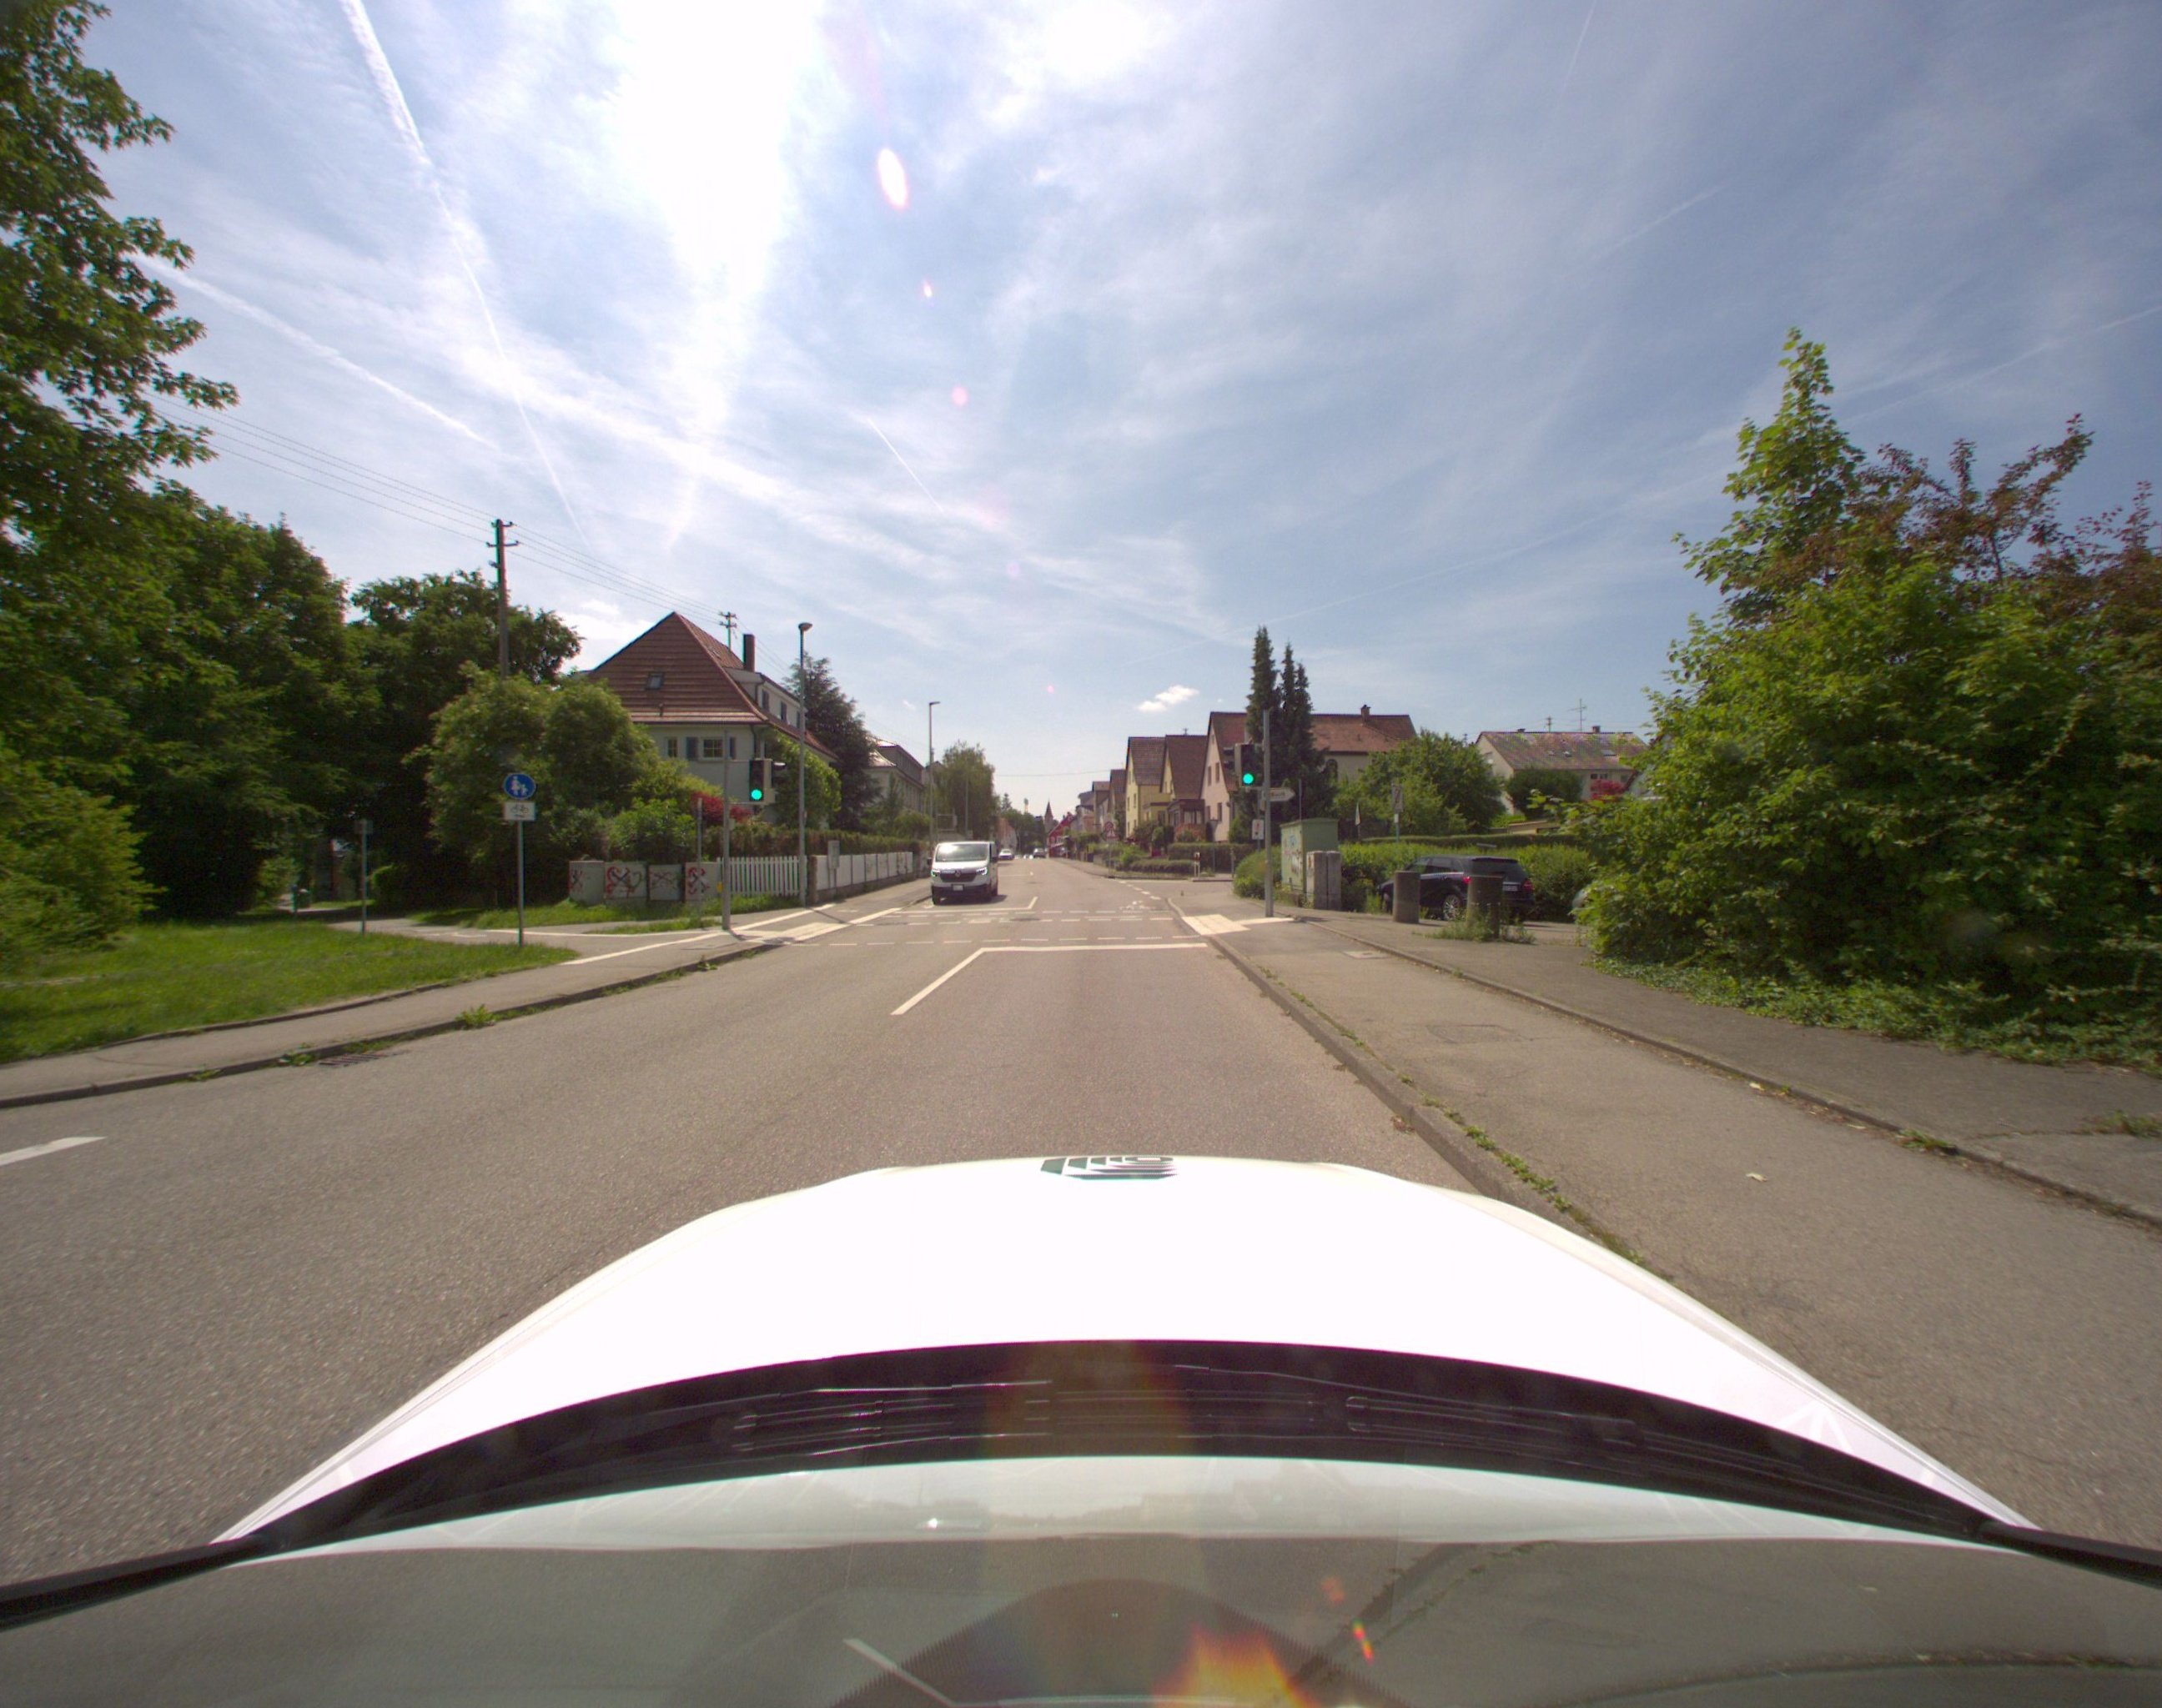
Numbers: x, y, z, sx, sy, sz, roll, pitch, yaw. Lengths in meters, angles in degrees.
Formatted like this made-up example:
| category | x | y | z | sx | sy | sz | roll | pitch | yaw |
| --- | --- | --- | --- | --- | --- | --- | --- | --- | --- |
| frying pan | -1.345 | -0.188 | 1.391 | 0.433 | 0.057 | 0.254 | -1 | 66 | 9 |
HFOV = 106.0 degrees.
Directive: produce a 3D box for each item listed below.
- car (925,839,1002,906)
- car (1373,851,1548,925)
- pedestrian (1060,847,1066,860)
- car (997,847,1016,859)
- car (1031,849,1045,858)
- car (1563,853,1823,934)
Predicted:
| category | x | y | z | sx | sy | sz | roll | pitch | yaw |
| --- | --- | --- | --- | --- | --- | --- | --- | --- | --- |
| car | -3.820 | 0.547 | 27.333 | 1.874 | 1.965 | 4.900 | -2 | 0 | -1 |
| car | 8.793 | 0.772 | 19.304 | 1.711 | 1.551 | 4.048 | 0 | -2 | -11 |
| pedestrian | -2.466 | -0.034 | 111.993 | 0.645 | 1.729 | 0.607 | -3 | 1 | -4 |
| car | -10.011 | -0.177 | 109.827 | 2.103 | 1.560 | 4.314 | -1 | 1 | 0 |
| car | -7.171 | -0.077 | 136.012 | 1.992 | 1.560 | 4.303 | -1 | 0 | -7 |
| car | 12.500 | 0.779 | 16.959 | 1.626 | 1.467 | 4.053 | 1 | -2 | -24 |
